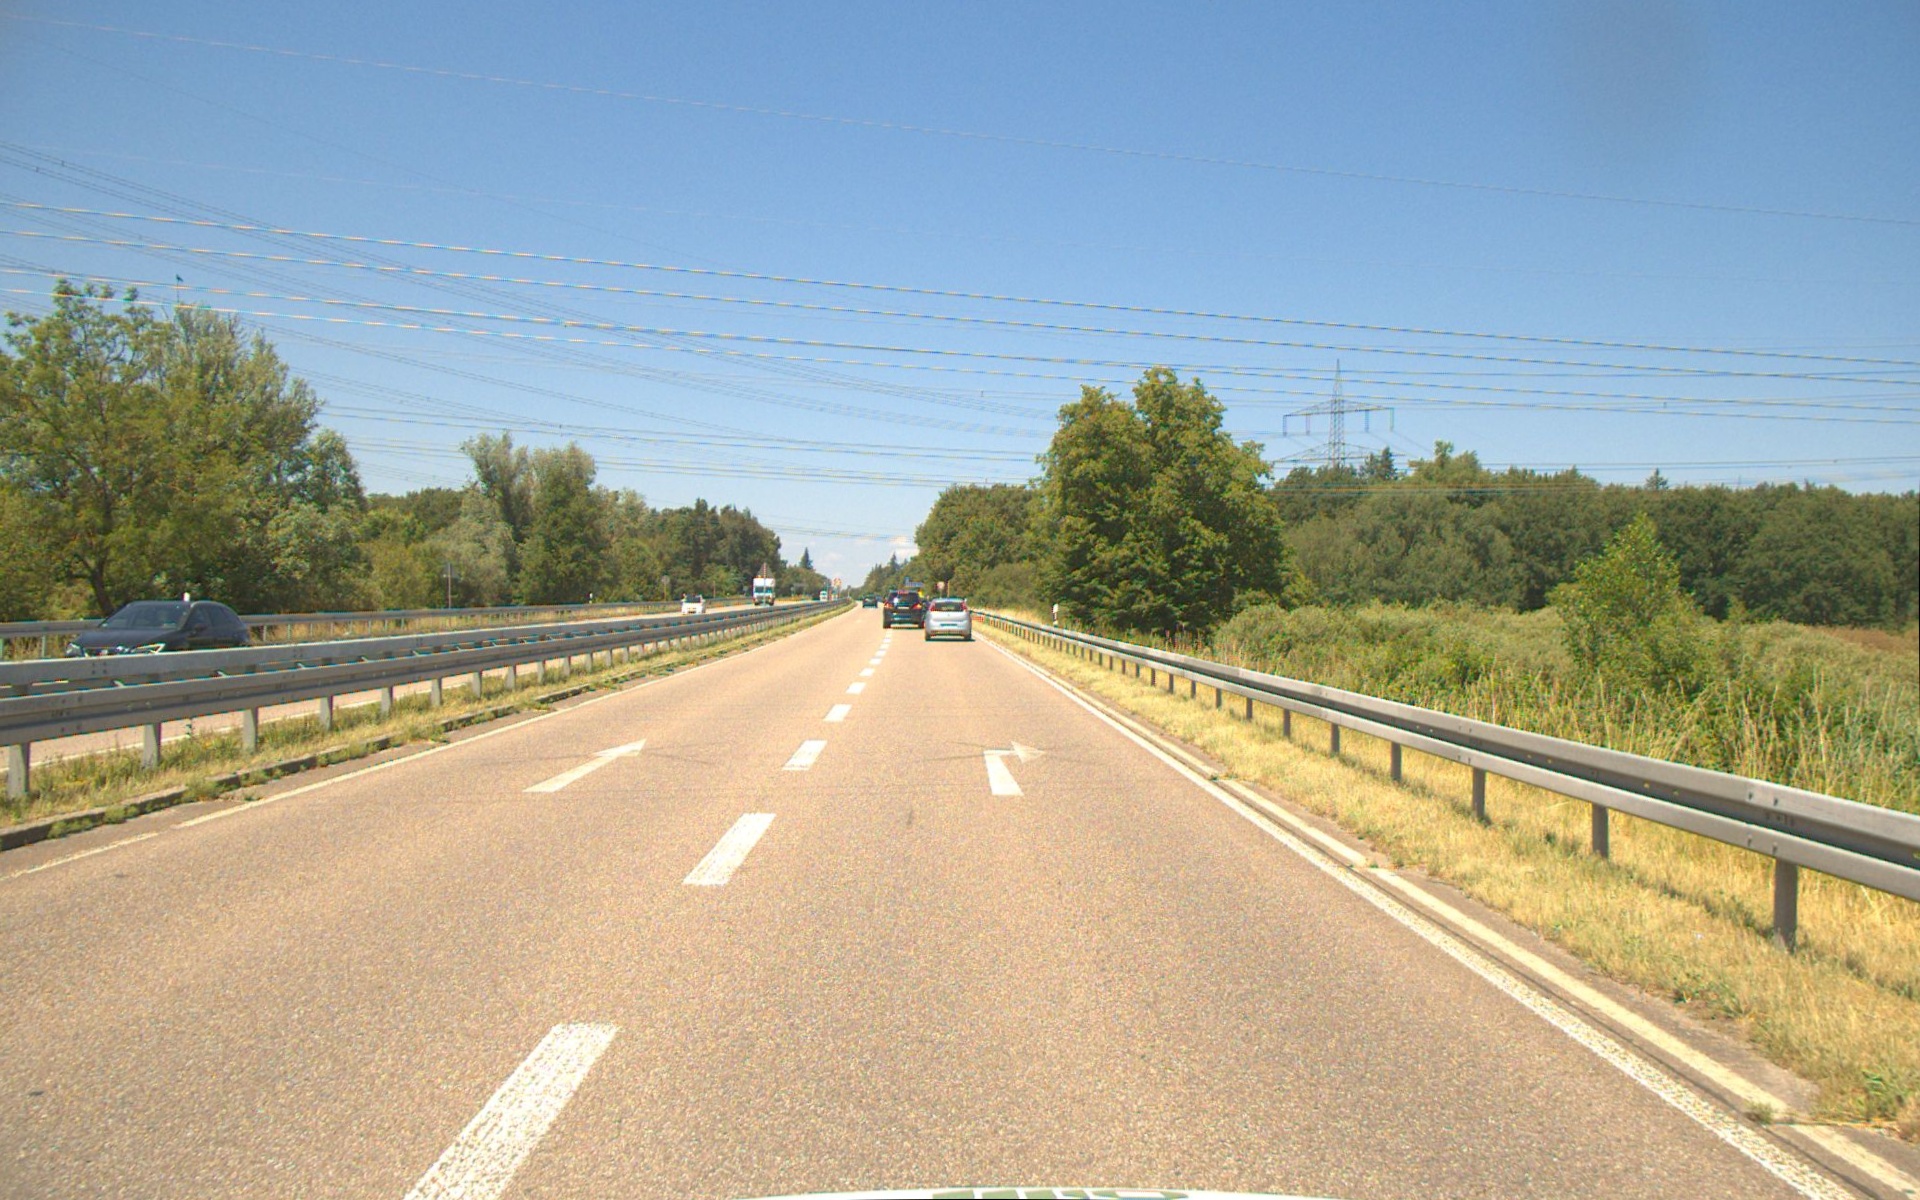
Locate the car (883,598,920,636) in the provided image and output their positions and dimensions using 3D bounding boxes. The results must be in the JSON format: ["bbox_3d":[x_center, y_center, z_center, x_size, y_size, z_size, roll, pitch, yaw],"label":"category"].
[{"bbox_3d":[-2.762,0.778,77.475,1.607,1.682,3.572,3,0,-2],"label":"car"}]

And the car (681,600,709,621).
[{"bbox_3d":[-19.076,0.720,119.029,1.502,1.475,3.700,0,0,-2],"label":"car"}]

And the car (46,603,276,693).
[{"bbox_3d":[-13.793,0.775,28.901,1.807,1.437,4.680,0,0,-1],"label":"car"}]

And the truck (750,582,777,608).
[{"bbox_3d":[-24.551,-0.631,206.808,2.664,3.249,8.401,0,0,-2],"label":"truck"}]

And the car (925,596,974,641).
[{"bbox_3d":[-0.395,0.650,59.328,1.607,1.493,3.417,3,0,-2],"label":"car"}]

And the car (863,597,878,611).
[{"bbox_3d":[-10.551,0.490,194.609,1.678,1.497,3.571,3,0,-3],"label":"car"}]

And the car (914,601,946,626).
[{"bbox_3d":[-1.705,0.774,95.314,1.606,1.366,3.575,3,0,2],"label":"car"}]
